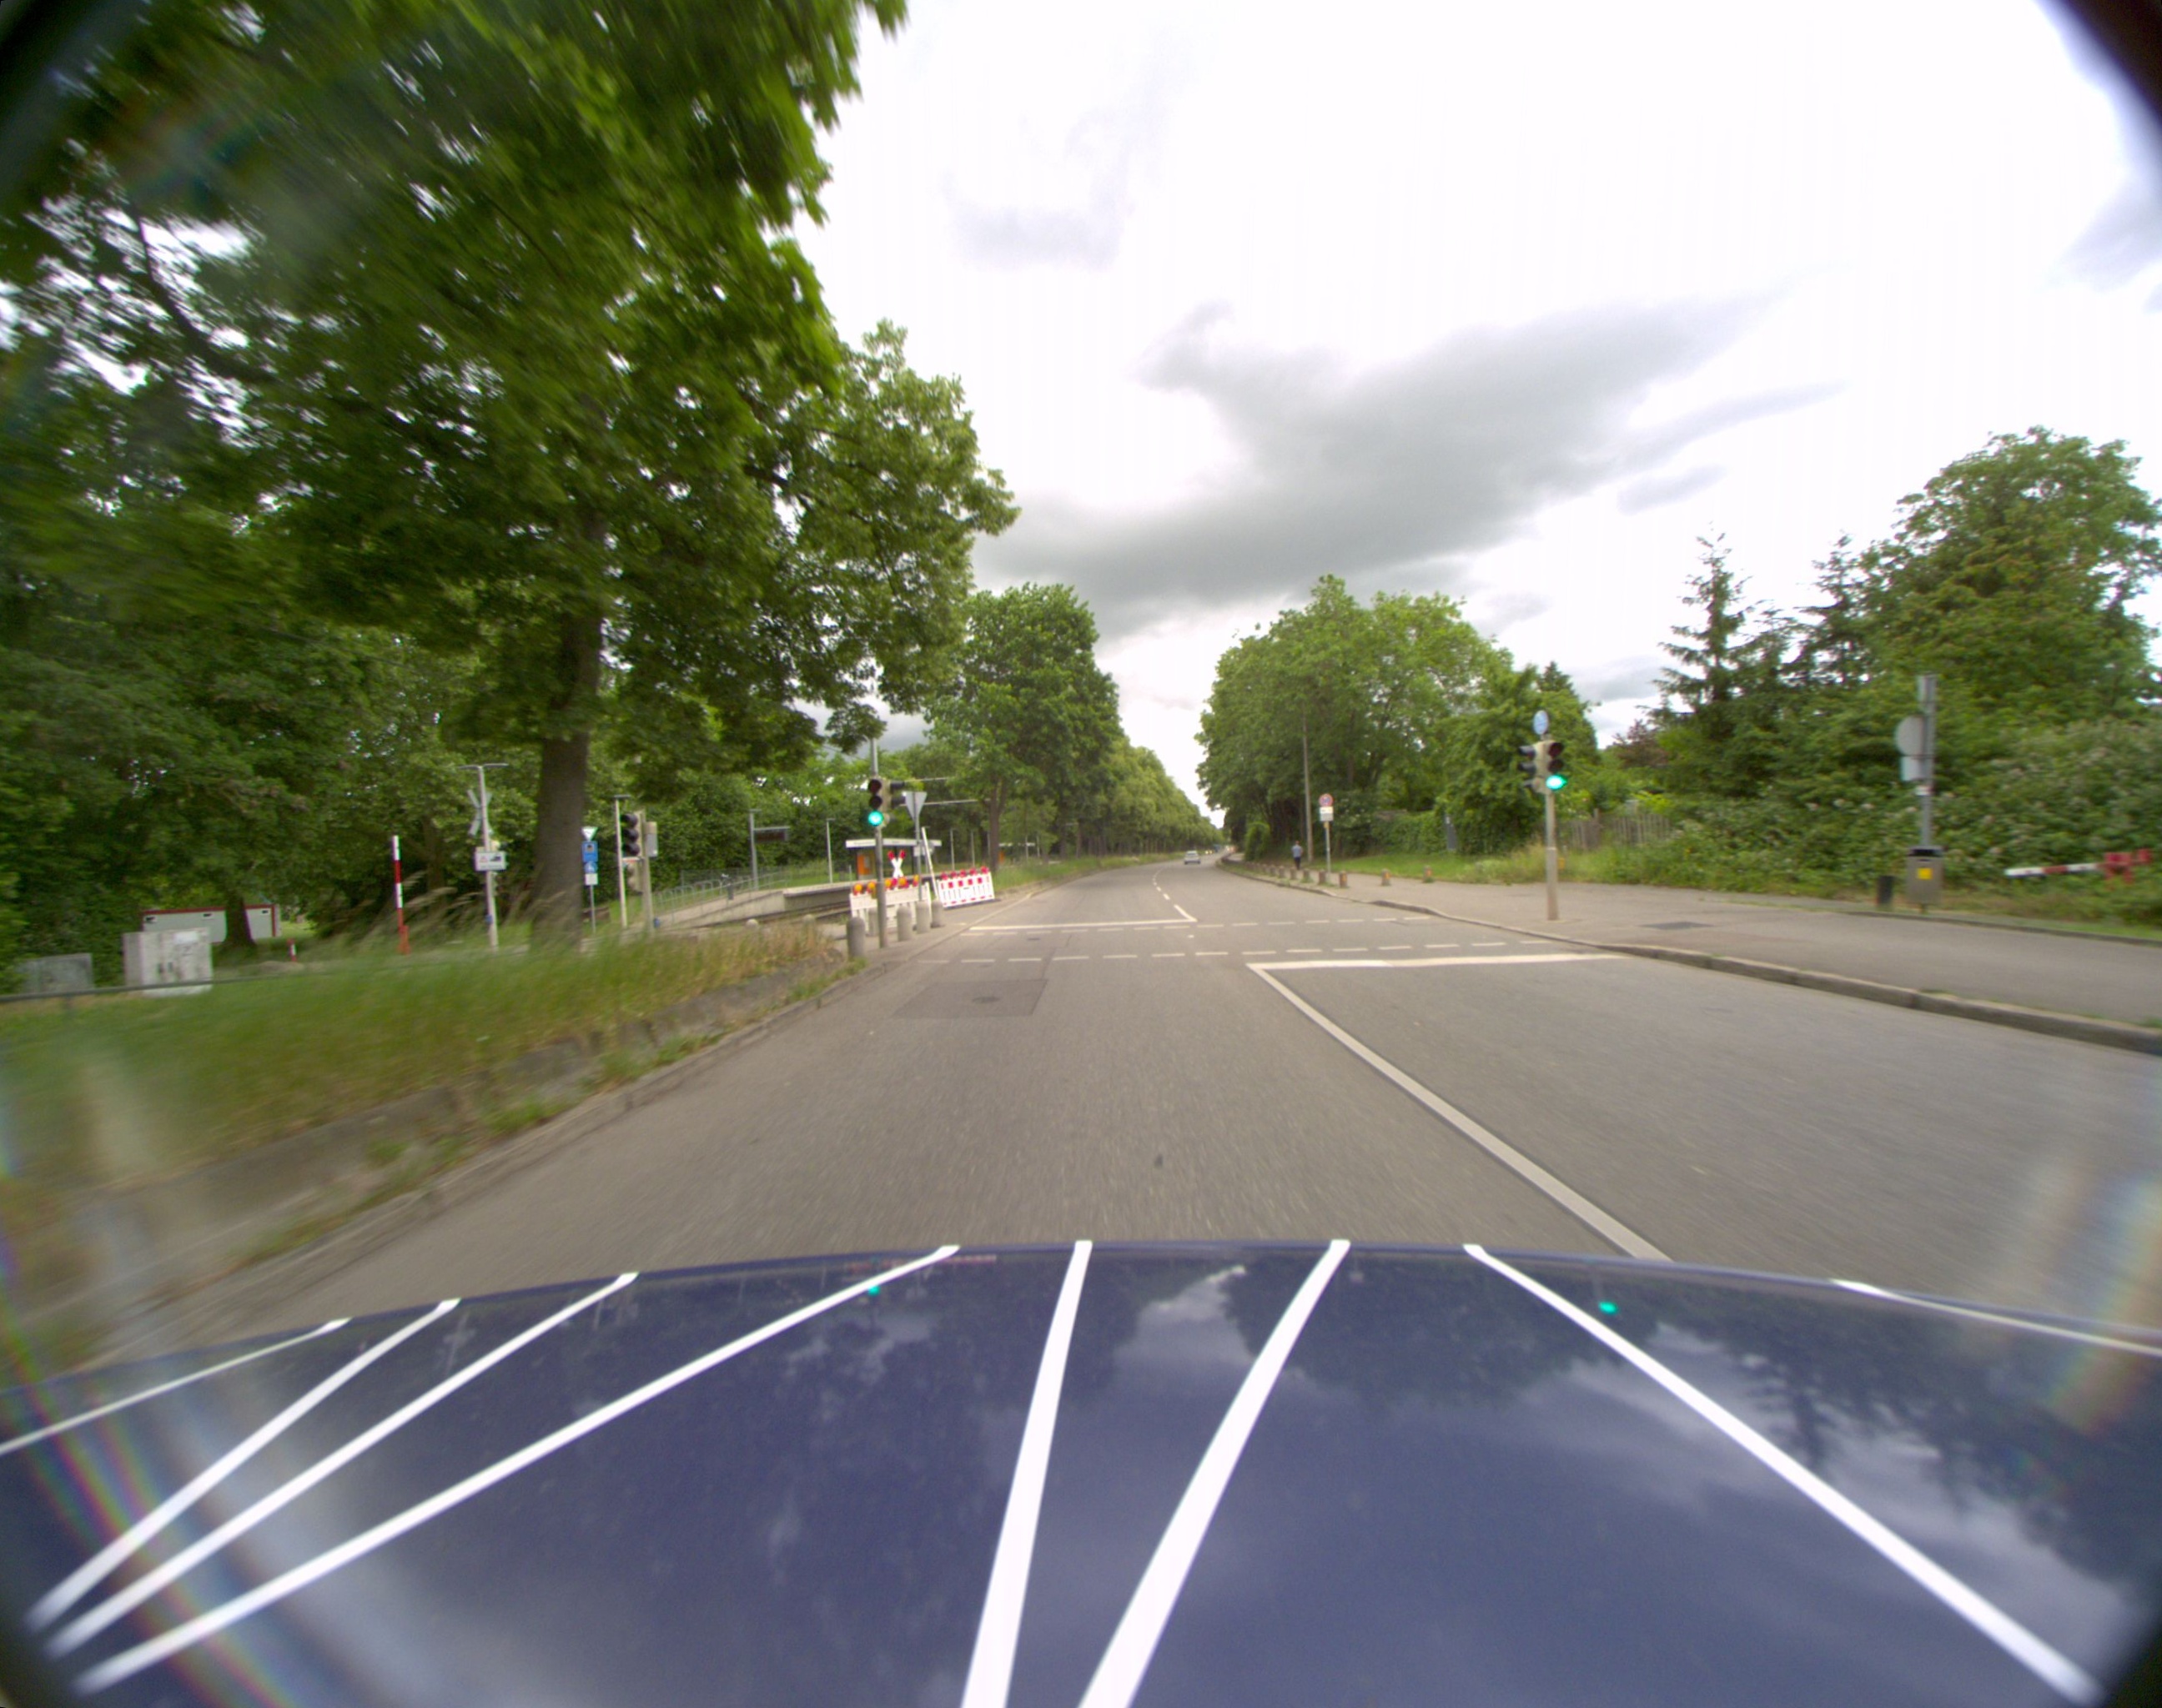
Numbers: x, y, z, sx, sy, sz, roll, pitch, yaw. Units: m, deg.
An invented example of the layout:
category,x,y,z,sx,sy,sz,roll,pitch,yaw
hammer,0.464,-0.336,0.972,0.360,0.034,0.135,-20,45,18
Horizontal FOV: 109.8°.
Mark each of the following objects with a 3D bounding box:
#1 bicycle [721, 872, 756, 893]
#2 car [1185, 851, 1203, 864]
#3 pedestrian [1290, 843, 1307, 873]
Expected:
category,x,y,z,sx,sy,sz,roll,pitch,yaw
bicycle,-17.694,1.479,39.241,1.512,0.968,0.450,-5,0,3
car,13.259,0.351,89.350,1.777,1.431,4.363,-2,0,5
pedestrian,12.349,0.218,43.176,0.691,1.624,0.838,-5,0,6
